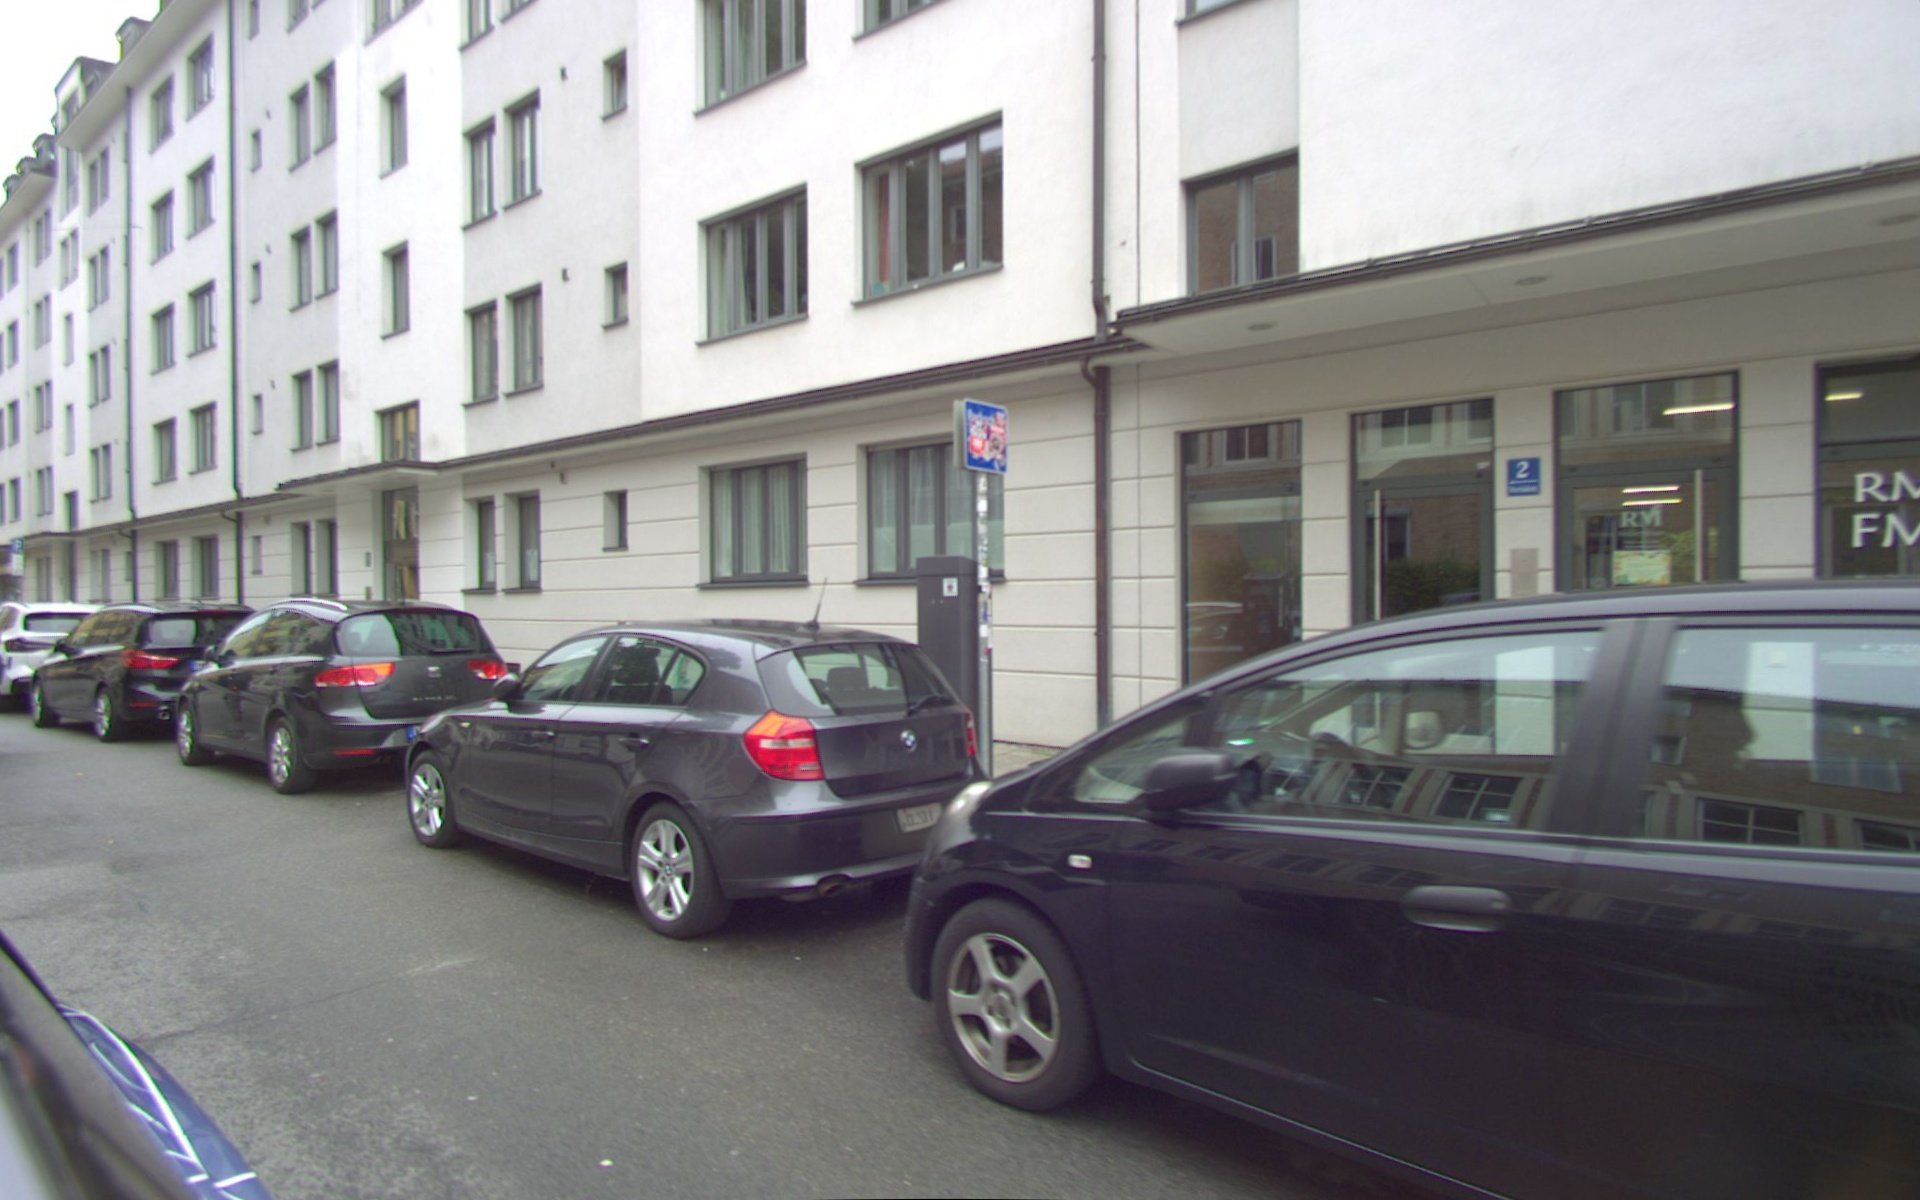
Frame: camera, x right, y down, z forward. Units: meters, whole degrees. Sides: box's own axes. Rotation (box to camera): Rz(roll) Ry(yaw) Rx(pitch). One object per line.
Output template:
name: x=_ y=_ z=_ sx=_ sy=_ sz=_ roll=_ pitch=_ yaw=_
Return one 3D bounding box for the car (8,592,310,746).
car: x=-10.466 y=0.831 z=13.128 sx=4.580 sy=1.671 sz=1.856 roll=-2 pitch=-2 yaw=35

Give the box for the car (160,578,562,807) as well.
car: x=-5.658 y=0.747 z=9.387 sx=4.074 sy=1.671 sz=1.854 roll=-2 pitch=-3 yaw=38

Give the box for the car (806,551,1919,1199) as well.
car: x=1.523 y=0.695 z=2.676 sx=4.015 sy=1.464 sz=1.731 roll=-2 pitch=-3 yaw=43

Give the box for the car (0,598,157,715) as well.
car: x=-14.982 y=0.879 z=16.541 sx=4.583 sy=1.671 sz=1.855 roll=-2 pitch=-2 yaw=38

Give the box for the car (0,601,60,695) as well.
car: x=-19.281 y=0.929 z=19.663 sx=4.513 sy=1.701 sz=1.855 roll=-2 pitch=-2 yaw=38

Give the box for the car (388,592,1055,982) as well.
car: x=-1.590 y=0.772 z=5.811 sx=4.013 sy=1.464 sz=1.732 roll=-2 pitch=-3 yaw=41

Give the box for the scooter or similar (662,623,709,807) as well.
scooter or similar: x=-2.208 y=0.866 z=8.098 sx=0.222 sy=1.366 sz=1.122 roll=0 pitch=-1 yaw=-22

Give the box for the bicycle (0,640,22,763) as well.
bicycle: x=-10.433 y=1.036 z=10.617 sx=1.949 sy=1.206 sz=0.642 roll=-1 pitch=-1 yaw=41

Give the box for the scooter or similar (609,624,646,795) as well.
scooter or similar: x=-2.872 y=0.893 z=8.710 sx=0.222 sy=1.366 sz=1.122 roll=0 pitch=-1 yaw=-22
